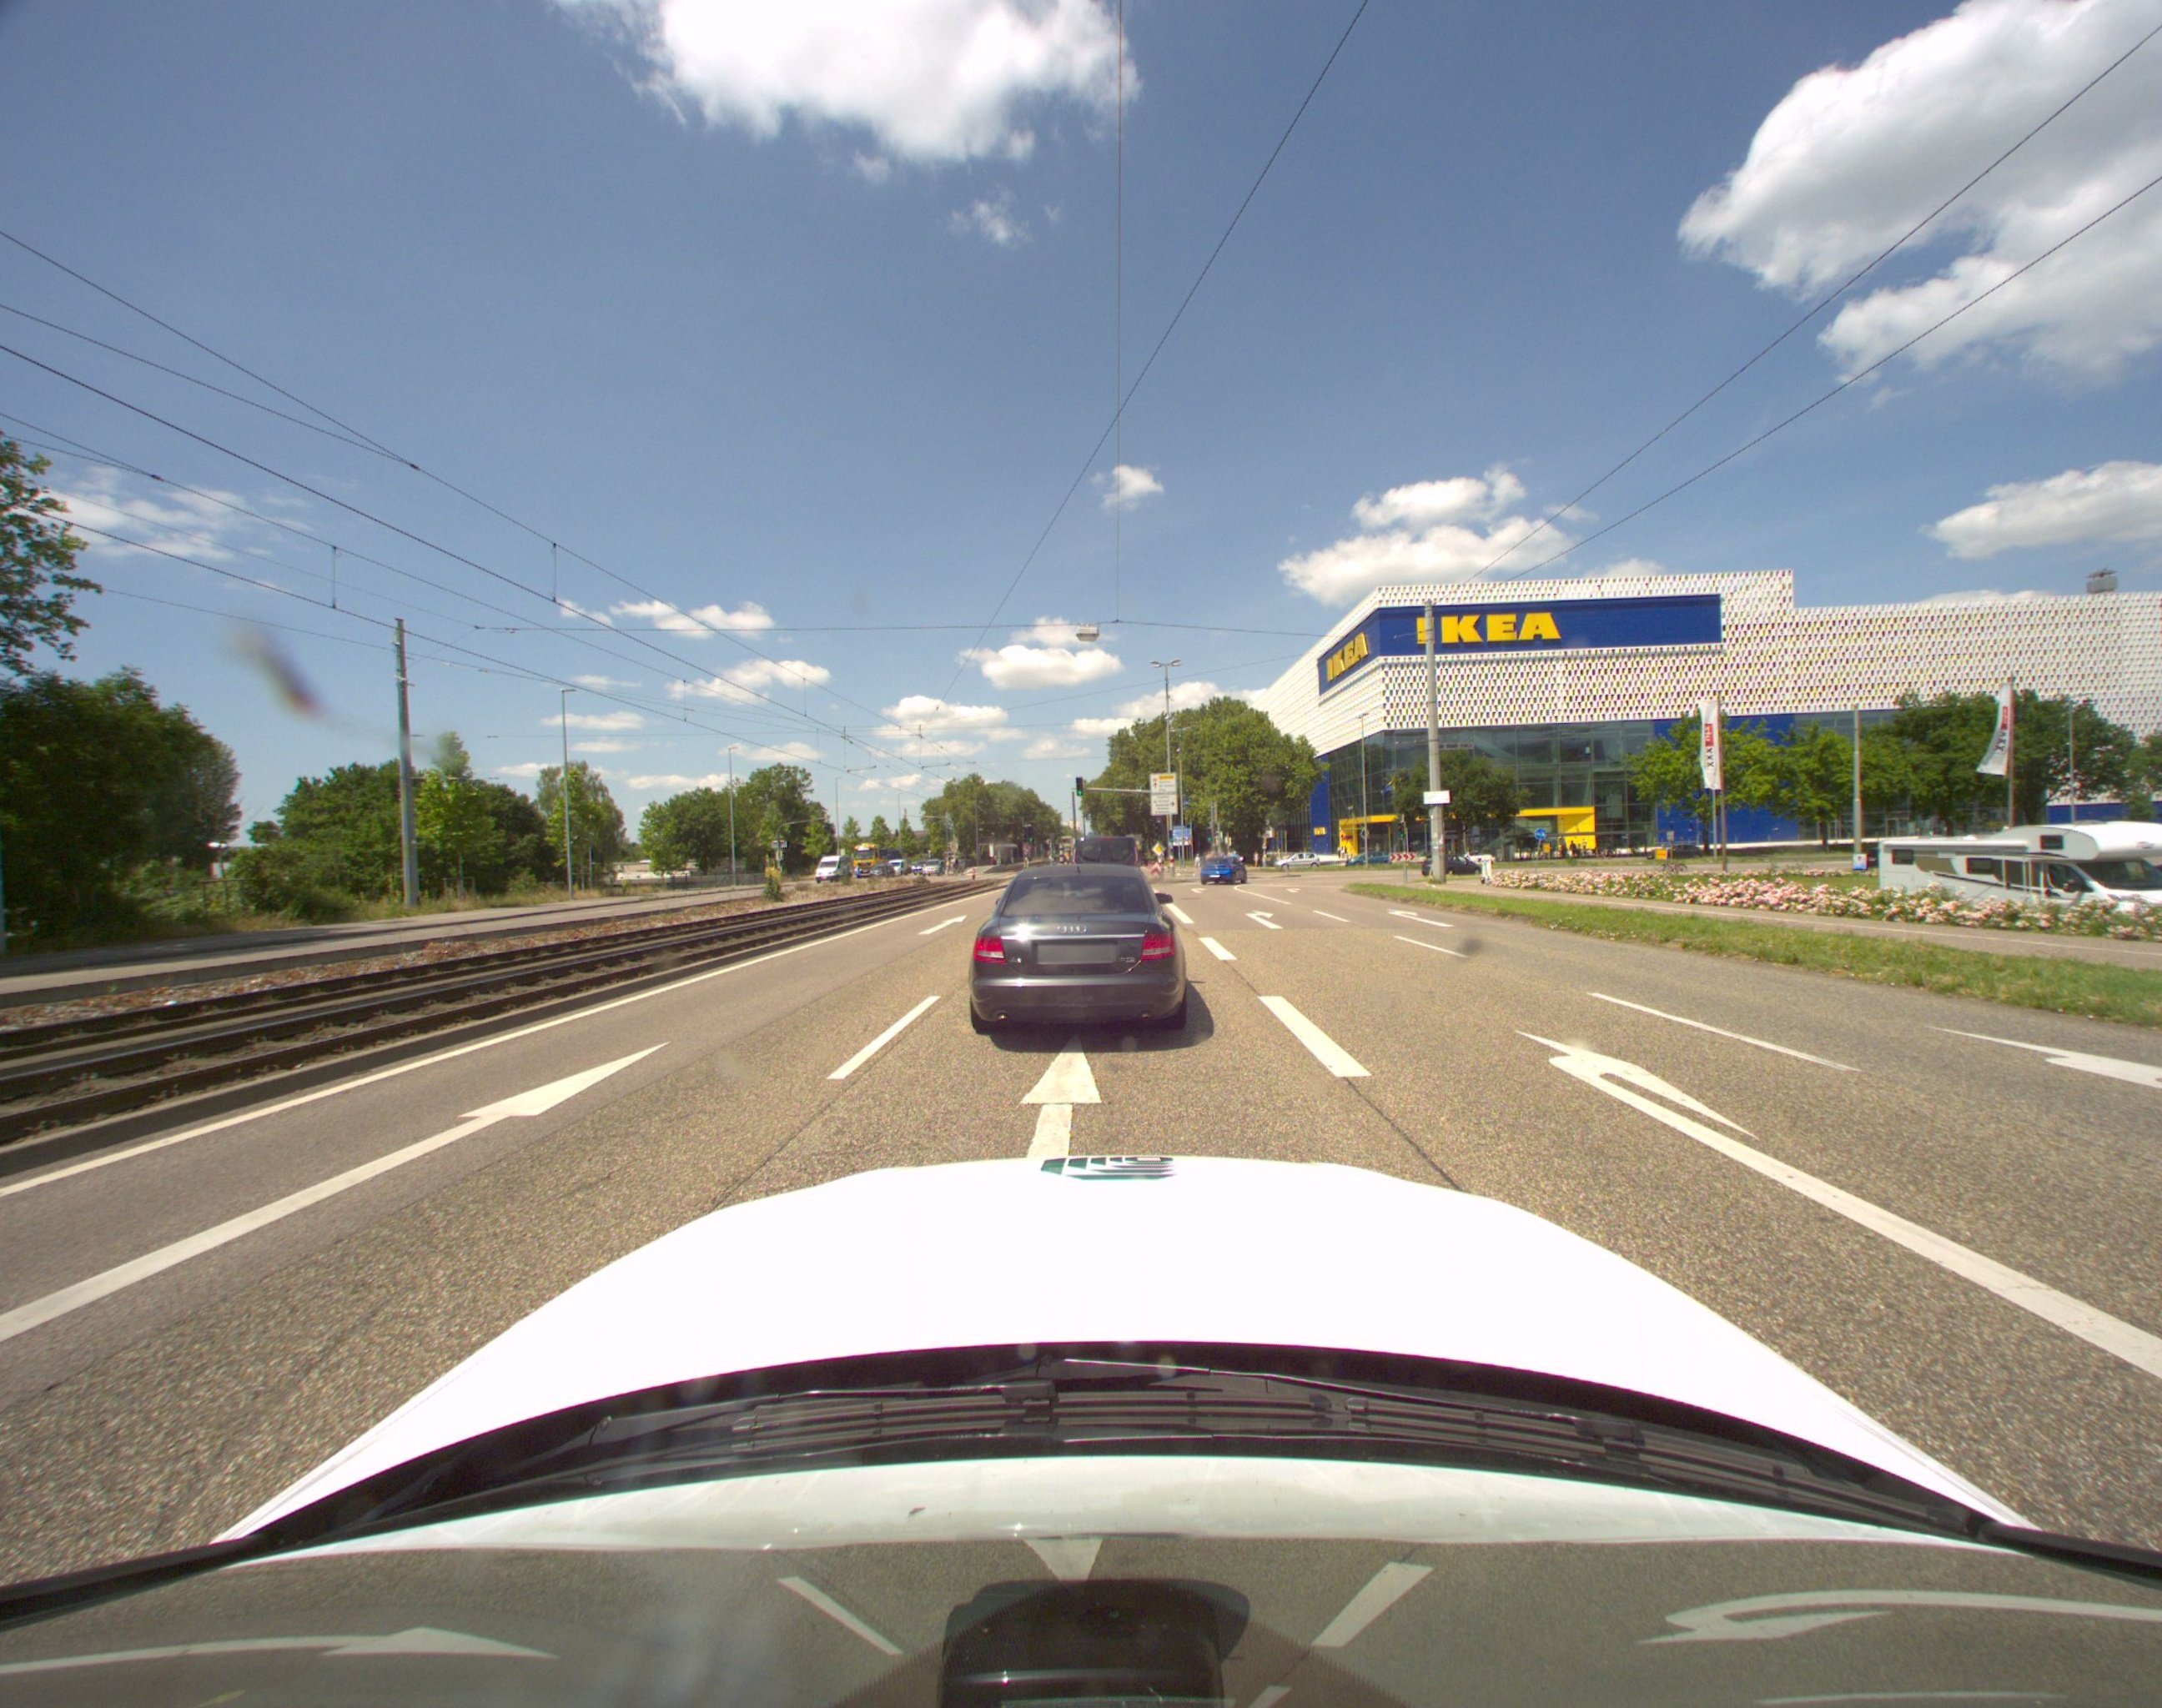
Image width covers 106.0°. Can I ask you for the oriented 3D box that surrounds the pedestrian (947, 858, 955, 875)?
[{"bbox_3d":[-12.529,1.217,78.464,0.683,1.564,0.572,-1,-1,-2],"label":"pedestrian"}]

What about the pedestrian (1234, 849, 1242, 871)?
[{"bbox_3d":[11.940,0.486,61.871,0.518,1.670,0.495,-1,0,5],"label":"pedestrian"}]

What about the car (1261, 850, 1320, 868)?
[{"bbox_3d":[17.337,0.394,67.578,4.475,1.486,2.003,0,0,5],"label":"car"}]

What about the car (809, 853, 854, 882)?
[{"bbox_3d":[-24.423,1.252,80.072,2.235,2.588,6.236,-4,0,1],"label":"car"}]

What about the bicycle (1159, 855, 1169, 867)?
[{"bbox_3d":[7.035,0.576,69.197,0.685,0.993,2.753,-1,0,2],"label":"bicycle"}]

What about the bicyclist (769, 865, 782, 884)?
[{"bbox_3d":[-28.810,1.921,76.845,1.116,1.774,0.340,-1,0,-3],"label":"bicyclist"}]

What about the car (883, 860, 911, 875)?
[{"bbox_3d":[-20.754,1.491,92.009,1.814,1.670,4.465,0,0,3],"label":"car"}]

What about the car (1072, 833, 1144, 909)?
[{"bbox_3d":[0.762,0.455,23.124,1.830,1.950,4.001,-1,0,2],"label":"car"}]

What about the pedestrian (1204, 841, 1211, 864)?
[{"bbox_3d":[9.127,-0.136,58.832,0.443,1.635,0.430,-1,0,5],"label":"pedestrian"}]

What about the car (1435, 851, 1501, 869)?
[{"bbox_3d":[31.831,0.460,67.047,4.475,1.486,2.003,0,0,5],"label":"car"}]

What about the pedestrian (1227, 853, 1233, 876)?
[{"bbox_3d":[10.522,0.751,57.538,0.319,1.635,0.377,-1,0,5],"label":"pedestrian"}]

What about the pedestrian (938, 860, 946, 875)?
[{"bbox_3d":[-13.214,1.276,77.368,0.683,1.443,0.572,-1,-1,-2],"label":"pedestrian"}]

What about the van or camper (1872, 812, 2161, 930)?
[{"bbox_3d":[28.158,0.422,24.341,2.494,3.020,7.235,-1,0,6],"label":"van or camper"}]

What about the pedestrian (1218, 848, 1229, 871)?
[{"bbox_3d":[11.795,0.460,67.437,0.678,1.846,0.711,-1,0,27],"label":"pedestrian"}]

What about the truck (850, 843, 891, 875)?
[{"bbox_3d":[-24.169,0.564,93.747,2.757,3.569,6.442,-1,0,2],"label":"truck"}]

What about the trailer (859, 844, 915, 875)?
[{"bbox_3d":[-23.928,0.594,101.554,2.757,3.518,15.884,-1,0,2],"label":"trailer"}]

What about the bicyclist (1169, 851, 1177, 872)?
[{"bbox_3d":[7.354,0.580,65.467,0.526,1.676,1.088,-1,-1,2],"label":"bicyclist"}]

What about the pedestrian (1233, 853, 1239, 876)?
[{"bbox_3d":[10.942,0.740,57.514,0.396,1.635,0.371,-1,0,4],"label":"pedestrian"}]

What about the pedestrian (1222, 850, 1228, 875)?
[{"bbox_3d":[9.745,0.565,54.967,0.337,1.635,0.377,-1,0,5],"label":"pedestrian"}]

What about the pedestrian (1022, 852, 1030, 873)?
[{"bbox_3d":[-5.322,0.864,79.203,0.683,2.014,0.572,-1,-1,-3],"label":"pedestrian"}]

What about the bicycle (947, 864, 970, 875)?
[{"bbox_3d":[-11.475,1.465,76.368,2.055,0.925,0.751,-1,0,-8],"label":"bicycle"}]

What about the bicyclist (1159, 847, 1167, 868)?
[{"bbox_3d":[6.971,0.272,69.378,0.526,1.789,1.089,-1,-1,2],"label":"bicyclist"}]

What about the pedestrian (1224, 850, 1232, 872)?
[{"bbox_3d":[11.165,0.520,61.899,0.501,1.635,0.449,-1,0,4],"label":"pedestrian"}]

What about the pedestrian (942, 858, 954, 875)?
[{"bbox_3d":[-13.133,1.240,80.253,0.816,1.720,0.779,-1,-1,24],"label":"pedestrian"}]

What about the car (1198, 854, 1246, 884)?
[{"bbox_3d":[7.426,0.735,42.671,1.822,1.454,4.020,0,0,19],"label":"car"}]

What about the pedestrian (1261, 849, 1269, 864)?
[{"bbox_3d":[19.211,0.279,84.902,0.698,1.544,0.681,-1,0,21],"label":"pedestrian"}]

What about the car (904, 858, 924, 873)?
[{"bbox_3d":[-23.198,1.587,113.520,1.811,1.883,4.001,-1,0,2],"label":"car"}]

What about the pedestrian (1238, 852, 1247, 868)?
[{"bbox_3d":[16.195,0.595,81.724,0.698,1.635,0.615,-1,0,21],"label":"pedestrian"}]

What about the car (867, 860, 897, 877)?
[{"bbox_3d":[-20.695,1.464,84.902,1.815,1.670,4.463,0,0,2],"label":"car"}]

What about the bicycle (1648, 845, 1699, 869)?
[{"bbox_3d":[36.976,0.197,50.851,2.410,1.481,0.990,-1,0,6],"label":"bicycle"}]

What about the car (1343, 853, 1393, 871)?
[{"bbox_3d":[24.792,0.668,70.440,3.770,1.486,2.003,0,0,5],"label":"car"}]

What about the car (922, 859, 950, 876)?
[{"bbox_3d":[-14.988,1.408,84.370,1.814,1.670,4.467,0,0,4],"label":"car"}]

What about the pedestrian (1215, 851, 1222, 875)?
[{"bbox_3d":[9.286,0.591,55.017,0.379,1.635,0.377,-1,0,5],"label":"pedestrian"}]

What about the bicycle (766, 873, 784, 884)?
[{"bbox_3d":[-28.895,2.326,76.849,1.487,0.987,0.485,-1,0,-2],"label":"bicycle"}]

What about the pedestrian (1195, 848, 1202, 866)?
[{"bbox_3d":[10.081,0.221,69.884,0.490,1.520,0.710,-1,0,19],"label":"pedestrian"}]

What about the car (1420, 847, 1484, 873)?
[{"bbox_3d":[23.297,0.381,51.114,4.116,1.526,1.748,-1,0,-34],"label":"car"}]

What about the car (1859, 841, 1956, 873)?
[{"bbox_3d":[53.901,0.193,53.188,4.164,2.014,2.001,-1,0,2],"label":"car"}]

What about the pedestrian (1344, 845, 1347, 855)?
[{"bbox_3d":[33.740,-0.490,103.859,0.287,1.342,0.266,-1,-1,1],"label":"pedestrian"}]

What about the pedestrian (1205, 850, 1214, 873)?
[{"bbox_3d":[9.276,0.540,58.687,0.551,1.635,0.433,-1,0,4],"label":"pedestrian"}]

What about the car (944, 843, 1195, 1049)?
[{"bbox_3d":[-0.014,0.665,7.936,1.786,1.455,4.002,-2,0,2],"label":"car"}]

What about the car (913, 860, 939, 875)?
[{"bbox_3d":[-17.580,1.491,92.680,1.814,1.670,4.467,0,0,5],"label":"car"}]

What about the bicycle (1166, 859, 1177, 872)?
[{"bbox_3d":[7.286,0.930,65.328,0.685,1.006,2.753,-1,0,2],"label":"bicycle"}]

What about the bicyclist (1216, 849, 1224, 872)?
[{"bbox_3d":[11.087,0.504,64.905,0.525,1.764,0.831,-1,-1,15],"label":"bicyclist"}]
